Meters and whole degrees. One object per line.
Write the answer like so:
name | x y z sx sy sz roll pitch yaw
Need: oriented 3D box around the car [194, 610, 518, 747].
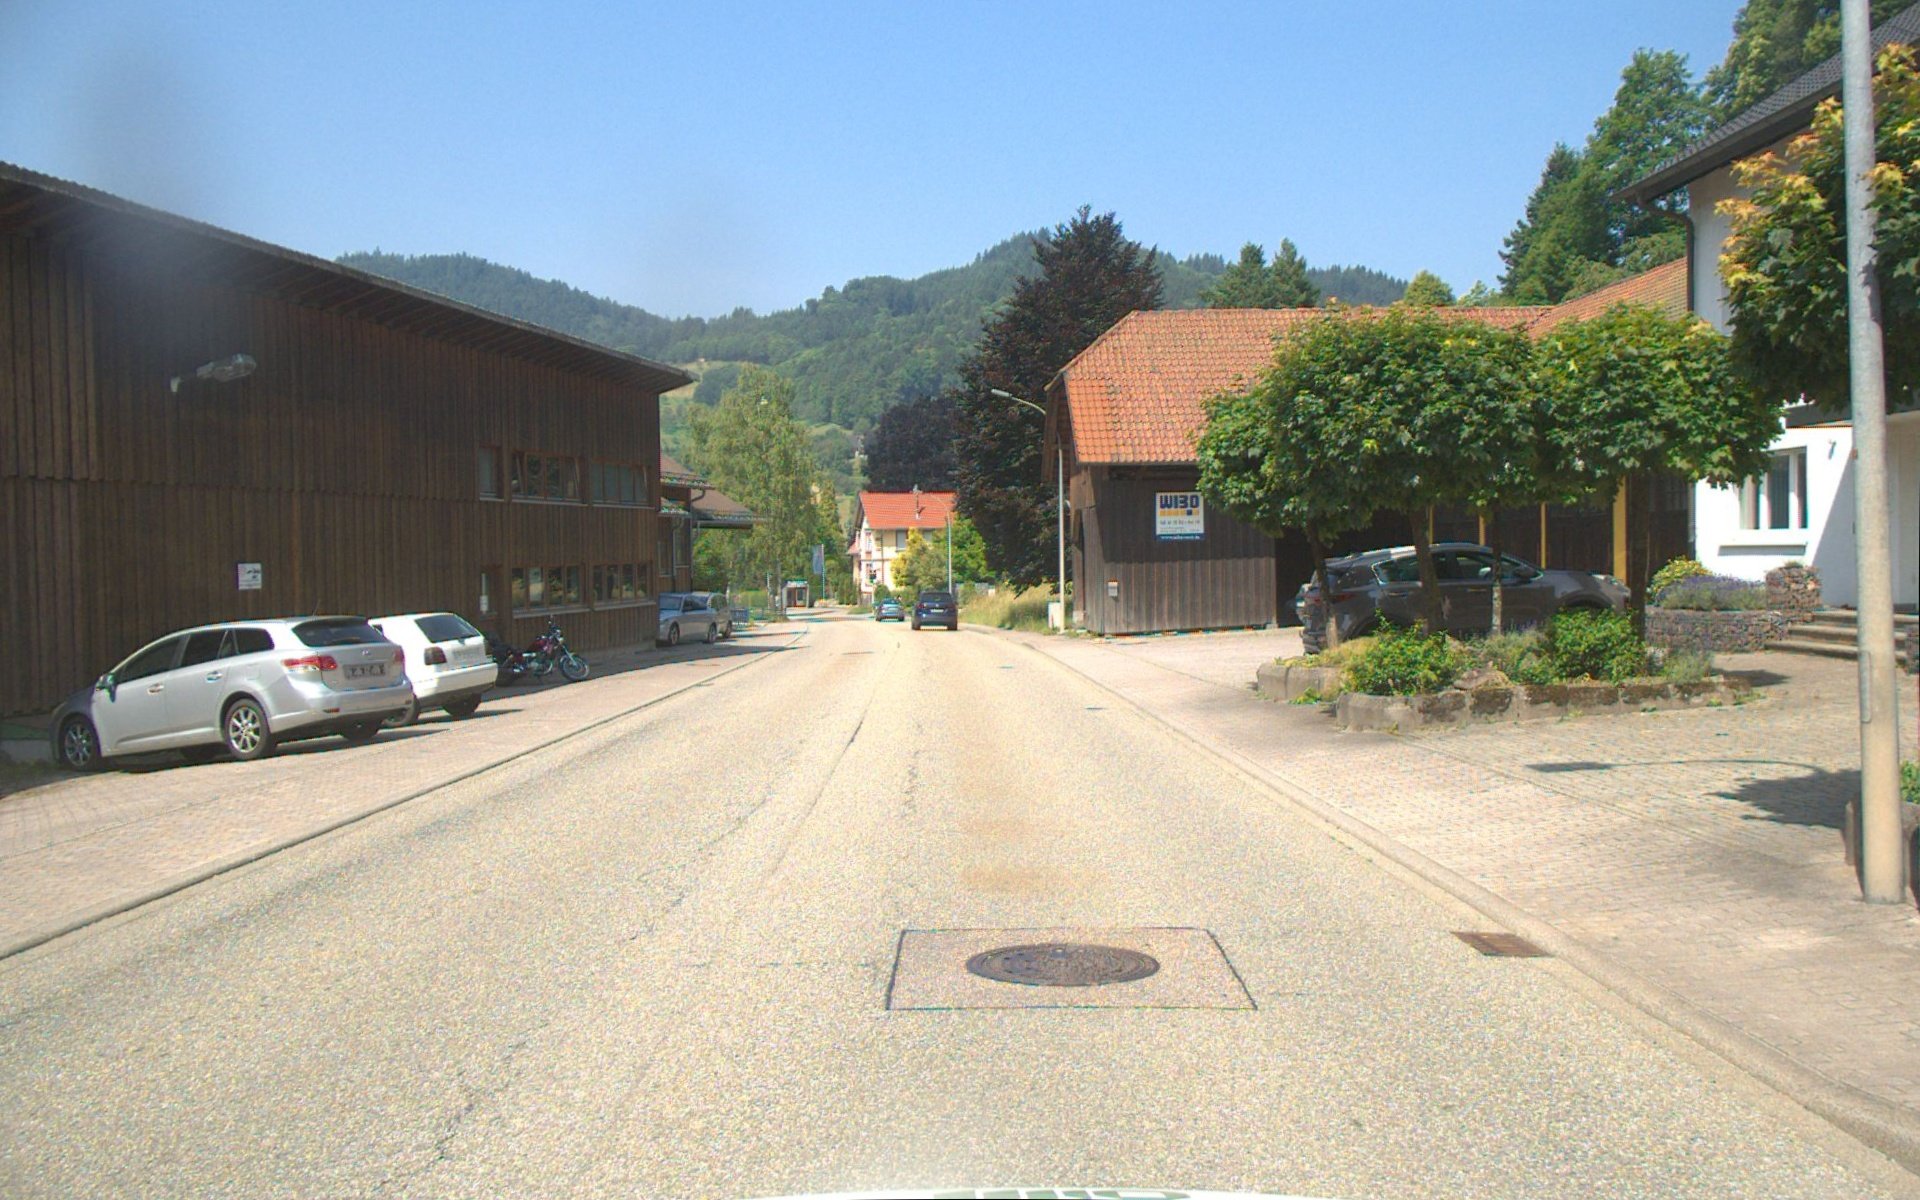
car | -7.932 1.016 21.824 3.582 1.409 1.712 -6 -1 14

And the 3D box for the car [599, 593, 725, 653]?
car | -8.231 0.599 46.166 1.692 1.479 4.809 -1 1 13

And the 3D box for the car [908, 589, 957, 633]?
car | -1.171 0.444 69.587 1.881 1.728 3.786 -2 0 -3

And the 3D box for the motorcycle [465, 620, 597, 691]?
motorcycle | -8.393 1.090 32.405 2.357 1.286 0.744 -2 0 9

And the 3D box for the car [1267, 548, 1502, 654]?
car | 8.371 0.007 32.835 4.046 1.864 1.952 -2 0 -5

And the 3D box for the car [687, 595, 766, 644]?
car | -8.289 0.666 58.934 1.547 1.597 4.027 2 1 10

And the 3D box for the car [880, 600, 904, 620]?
car | -4.487 0.669 108.856 1.448 1.230 2.381 -2 0 -6

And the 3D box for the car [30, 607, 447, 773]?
car | -8.309 1.039 19.035 4.342 1.500 1.924 -5 0 25

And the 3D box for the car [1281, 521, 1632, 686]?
car | 6.660 0.039 22.513 4.135 1.716 1.777 -6 0 2
